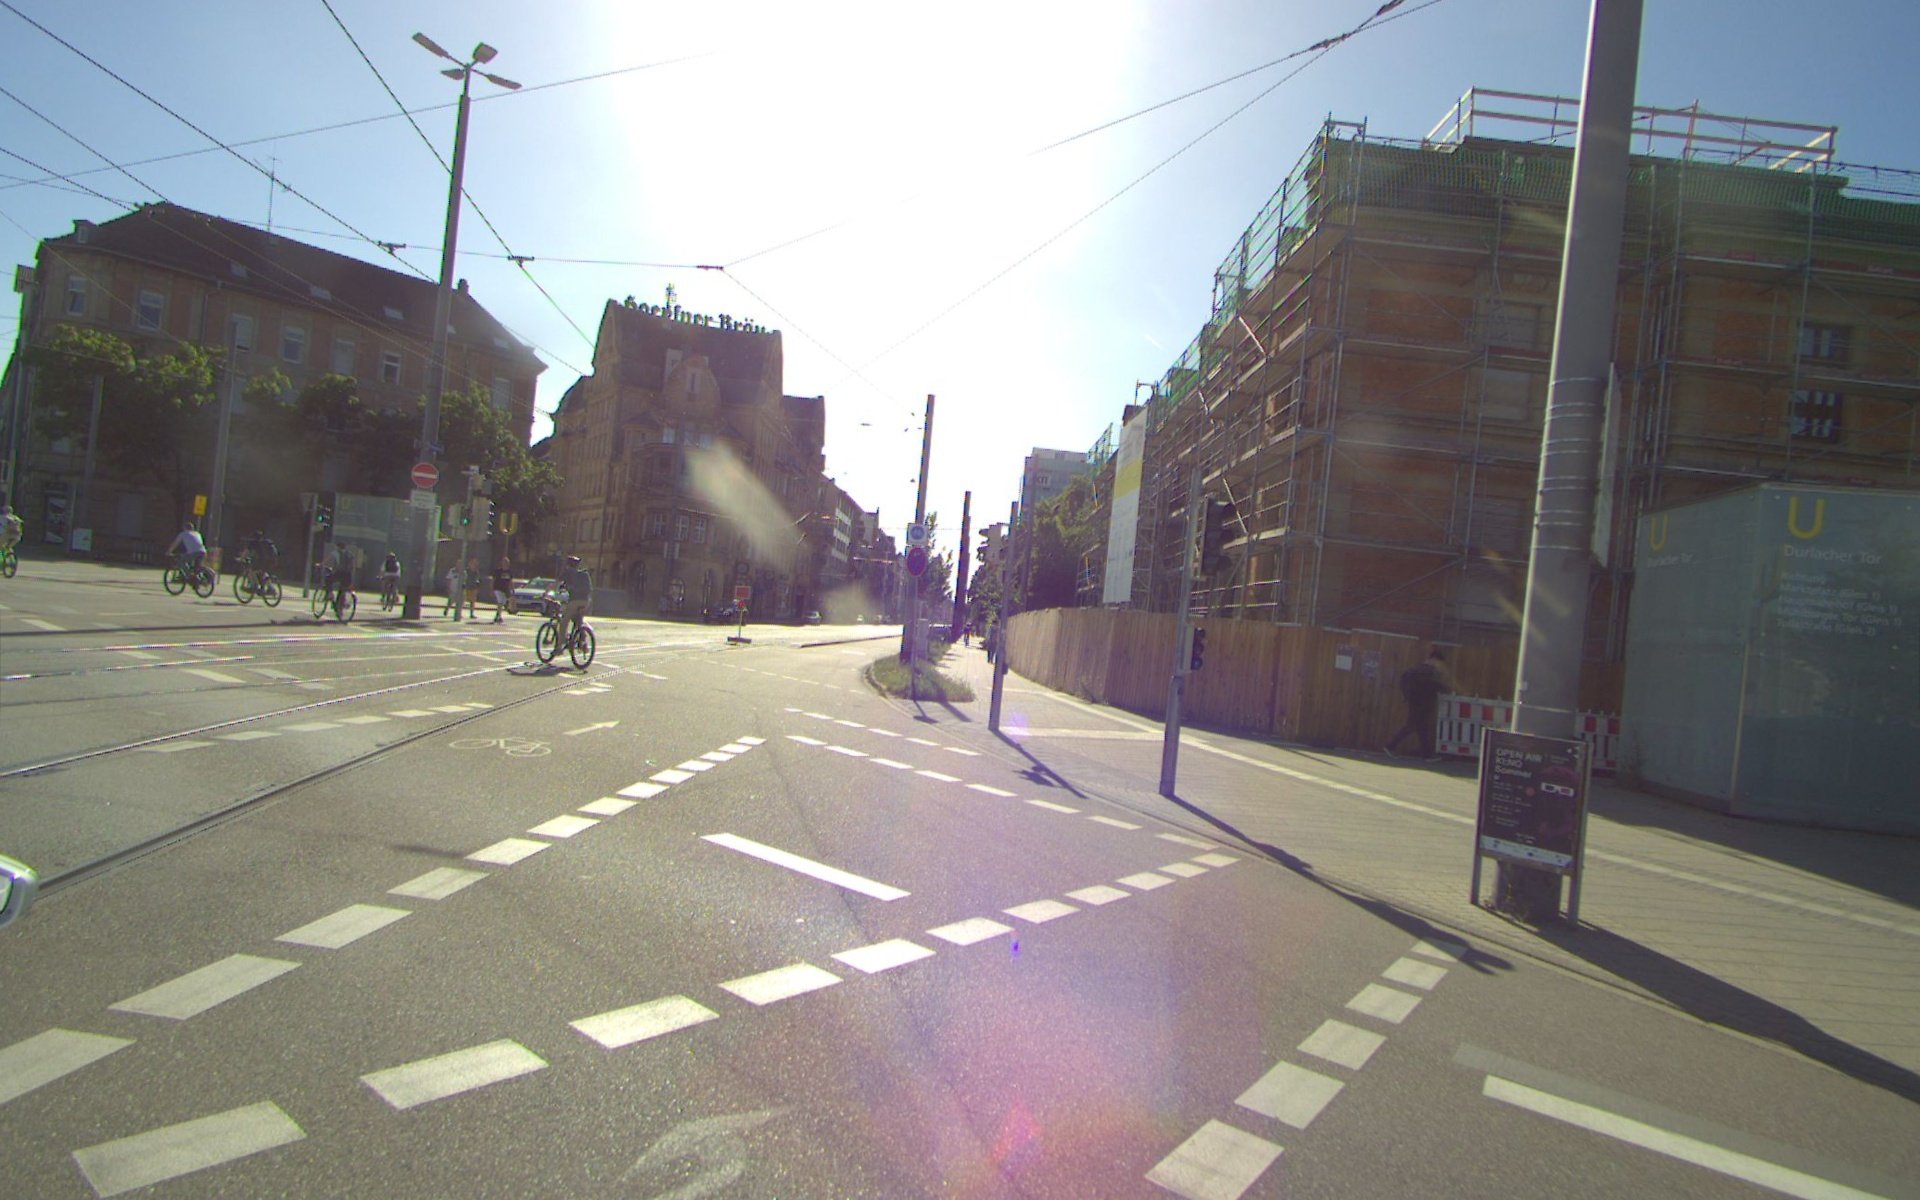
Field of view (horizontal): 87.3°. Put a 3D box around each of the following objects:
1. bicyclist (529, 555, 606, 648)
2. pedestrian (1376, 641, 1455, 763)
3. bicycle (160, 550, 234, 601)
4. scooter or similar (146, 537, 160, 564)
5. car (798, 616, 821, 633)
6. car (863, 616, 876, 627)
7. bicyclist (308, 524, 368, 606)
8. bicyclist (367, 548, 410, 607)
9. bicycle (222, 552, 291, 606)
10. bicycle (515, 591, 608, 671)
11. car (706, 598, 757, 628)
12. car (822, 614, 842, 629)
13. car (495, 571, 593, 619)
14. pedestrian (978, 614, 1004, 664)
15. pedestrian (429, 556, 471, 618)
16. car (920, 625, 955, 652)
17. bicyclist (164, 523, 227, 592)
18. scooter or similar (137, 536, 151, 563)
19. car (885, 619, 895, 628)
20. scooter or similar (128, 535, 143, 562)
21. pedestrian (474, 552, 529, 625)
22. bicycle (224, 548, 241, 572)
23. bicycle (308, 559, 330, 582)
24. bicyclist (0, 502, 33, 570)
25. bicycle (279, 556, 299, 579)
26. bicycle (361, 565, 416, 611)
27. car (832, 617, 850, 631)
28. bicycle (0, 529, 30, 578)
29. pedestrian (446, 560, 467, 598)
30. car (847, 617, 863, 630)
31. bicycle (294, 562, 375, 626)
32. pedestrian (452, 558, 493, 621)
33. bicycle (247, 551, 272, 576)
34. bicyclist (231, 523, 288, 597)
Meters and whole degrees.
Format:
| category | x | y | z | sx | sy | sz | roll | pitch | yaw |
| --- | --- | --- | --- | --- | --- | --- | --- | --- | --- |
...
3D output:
| category | x | y | z | sx | sy | sz | roll | pitch | yaw |
| --- | --- | --- | --- | --- | --- | --- | --- | --- | --- |
| bicyclist | -6.637 | 0.023 | 17.003 | 1.022 | 1.437 | 0.673 | 5 | -2 | 40 |
| pedestrian | 7.294 | 1.617 | 16.145 | 0.815 | 1.808 | 0.778 | 6 | -2 | 10 |
| bicycle | -19.362 | -0.625 | 25.525 | 1.897 | 1.082 | 0.387 | 6 | 1 | 17 |
| scooter or similar | -37.629 | -2.313 | 46.904 | 0.269 | 1.209 | 1.546 | 8 | -3 | -44 |
| car | -16.286 | 2.668 | 109.050 | 1.720 | 1.640 | 4.019 | 5 | -2 | 2 |
| car | -16.377 | 3.909 | 181.389 | 1.720 | 1.642 | 4.014 | 5 | 1 | 2 |
| bicyclist | -13.325 | -0.753 | 21.552 | 0.937 | 1.632 | 0.551 | 6 | -2 | 30 |
| bicyclist | -16.935 | -0.678 | 29.815 | 0.938 | 1.632 | 0.598 | 5 | -2 | 36 |
| bicycle | -16.717 | -0.508 | 23.890 | 1.902 | 1.131 | 0.532 | 4 | -1 | 31 |
| bicycle | -6.773 | 0.514 | 17.062 | 1.839 | 1.172 | 0.531 | 5 | -2 | 39 |
| car | -14.989 | 0.898 | 66.232 | 1.882 | 1.706 | 4.256 | 5 | -2 | 7 |
| car | -16.418 | 2.747 | 129.166 | 1.720 | 1.640 | 4.019 | 5 | -2 | 2 |
| car | -17.505 | -0.174 | 42.573 | 1.882 | 1.640 | 4.256 | 5 | -2 | 7 |
| pedestrian | 1.334 | 1.698 | 43.482 | 0.849 | 2.037 | 1.088 | 7 | -2 | -3 |
| pedestrian | -14.726 | -0.373 | 29.048 | 0.812 | 1.696 | 0.658 | 5 | -2 | 41 |
| car | -1.622 | 2.715 | 70.698 | 1.965 | 1.591 | 4.000 | 7 | -3 | -6 |
| bicyclist | -19.381 | -1.067 | 25.515 | 0.869 | 1.612 | 0.785 | 6 | 0 | 18 |
| scooter or similar | -37.863 | -2.355 | 46.674 | 0.269 | 1.198 | 1.546 | 8 | -3 | -44 |
| car | -14.977 | 5.003 | 215.825 | 1.720 | 1.642 | 4.014 | 5 | 1 | 2 |
| scooter or similar | -38.075 | -2.393 | 46.442 | 0.269 | 1.198 | 1.546 | 8 | -3 | -44 |
| pedestrian | -13.329 | -0.330 | 29.239 | 1.034 | 1.951 | 0.930 | 5 | -2 | 41 |
| bicycle | -35.649 | -1.960 | 49.304 | 0.402 | 1.073 | 1.335 | 8 | -3 | -44 |
| bicycle | -33.114 | -1.528 | 51.937 | 1.441 | 1.073 | 0.403 | 5 | -2 | 39 |
| bicyclist | -25.412 | -1.722 | 26.790 | 1.102 | 1.703 | 0.681 | 5 | -2 | 35 |
| bicycle | -34.288 | -1.672 | 51.397 | 1.442 | 1.073 | 0.403 | 5 | -2 | 41 |
| bicycle | -16.906 | -0.357 | 29.746 | 1.903 | 1.130 | 0.532 | 8 | -1 | 35 |
| car | -16.067 | 3.259 | 135.534 | 1.720 | 1.640 | 4.019 | 5 | -2 | 2 |
| bicycle | -25.463 | -1.271 | 26.769 | 1.903 | 1.130 | 0.532 | 8 | -1 | 35 |
| pedestrian | -26.260 | -1.099 | 52.444 | 0.537 | 1.870 | 0.650 | 6 | -2 | 3 |
| car | -16.231 | 3.588 | 155.831 | 1.720 | 1.643 | 4.012 | 5 | 2 | 2 |
| bicycle | -13.396 | -0.141 | 21.540 | 1.901 | 1.130 | 0.533 | 7 | -1 | 30 |
| pedestrian | -14.638 | -0.304 | 30.203 | 0.812 | 1.777 | 0.658 | 5 | -2 | 41 |
| bicycle | -34.858 | -1.822 | 50.060 | 1.329 | 1.073 | 0.404 | 5 | -2 | 30 |
| bicyclist | -16.580 | -0.943 | 23.798 | 0.965 | 1.632 | 0.624 | 5 | -2 | 33 |
